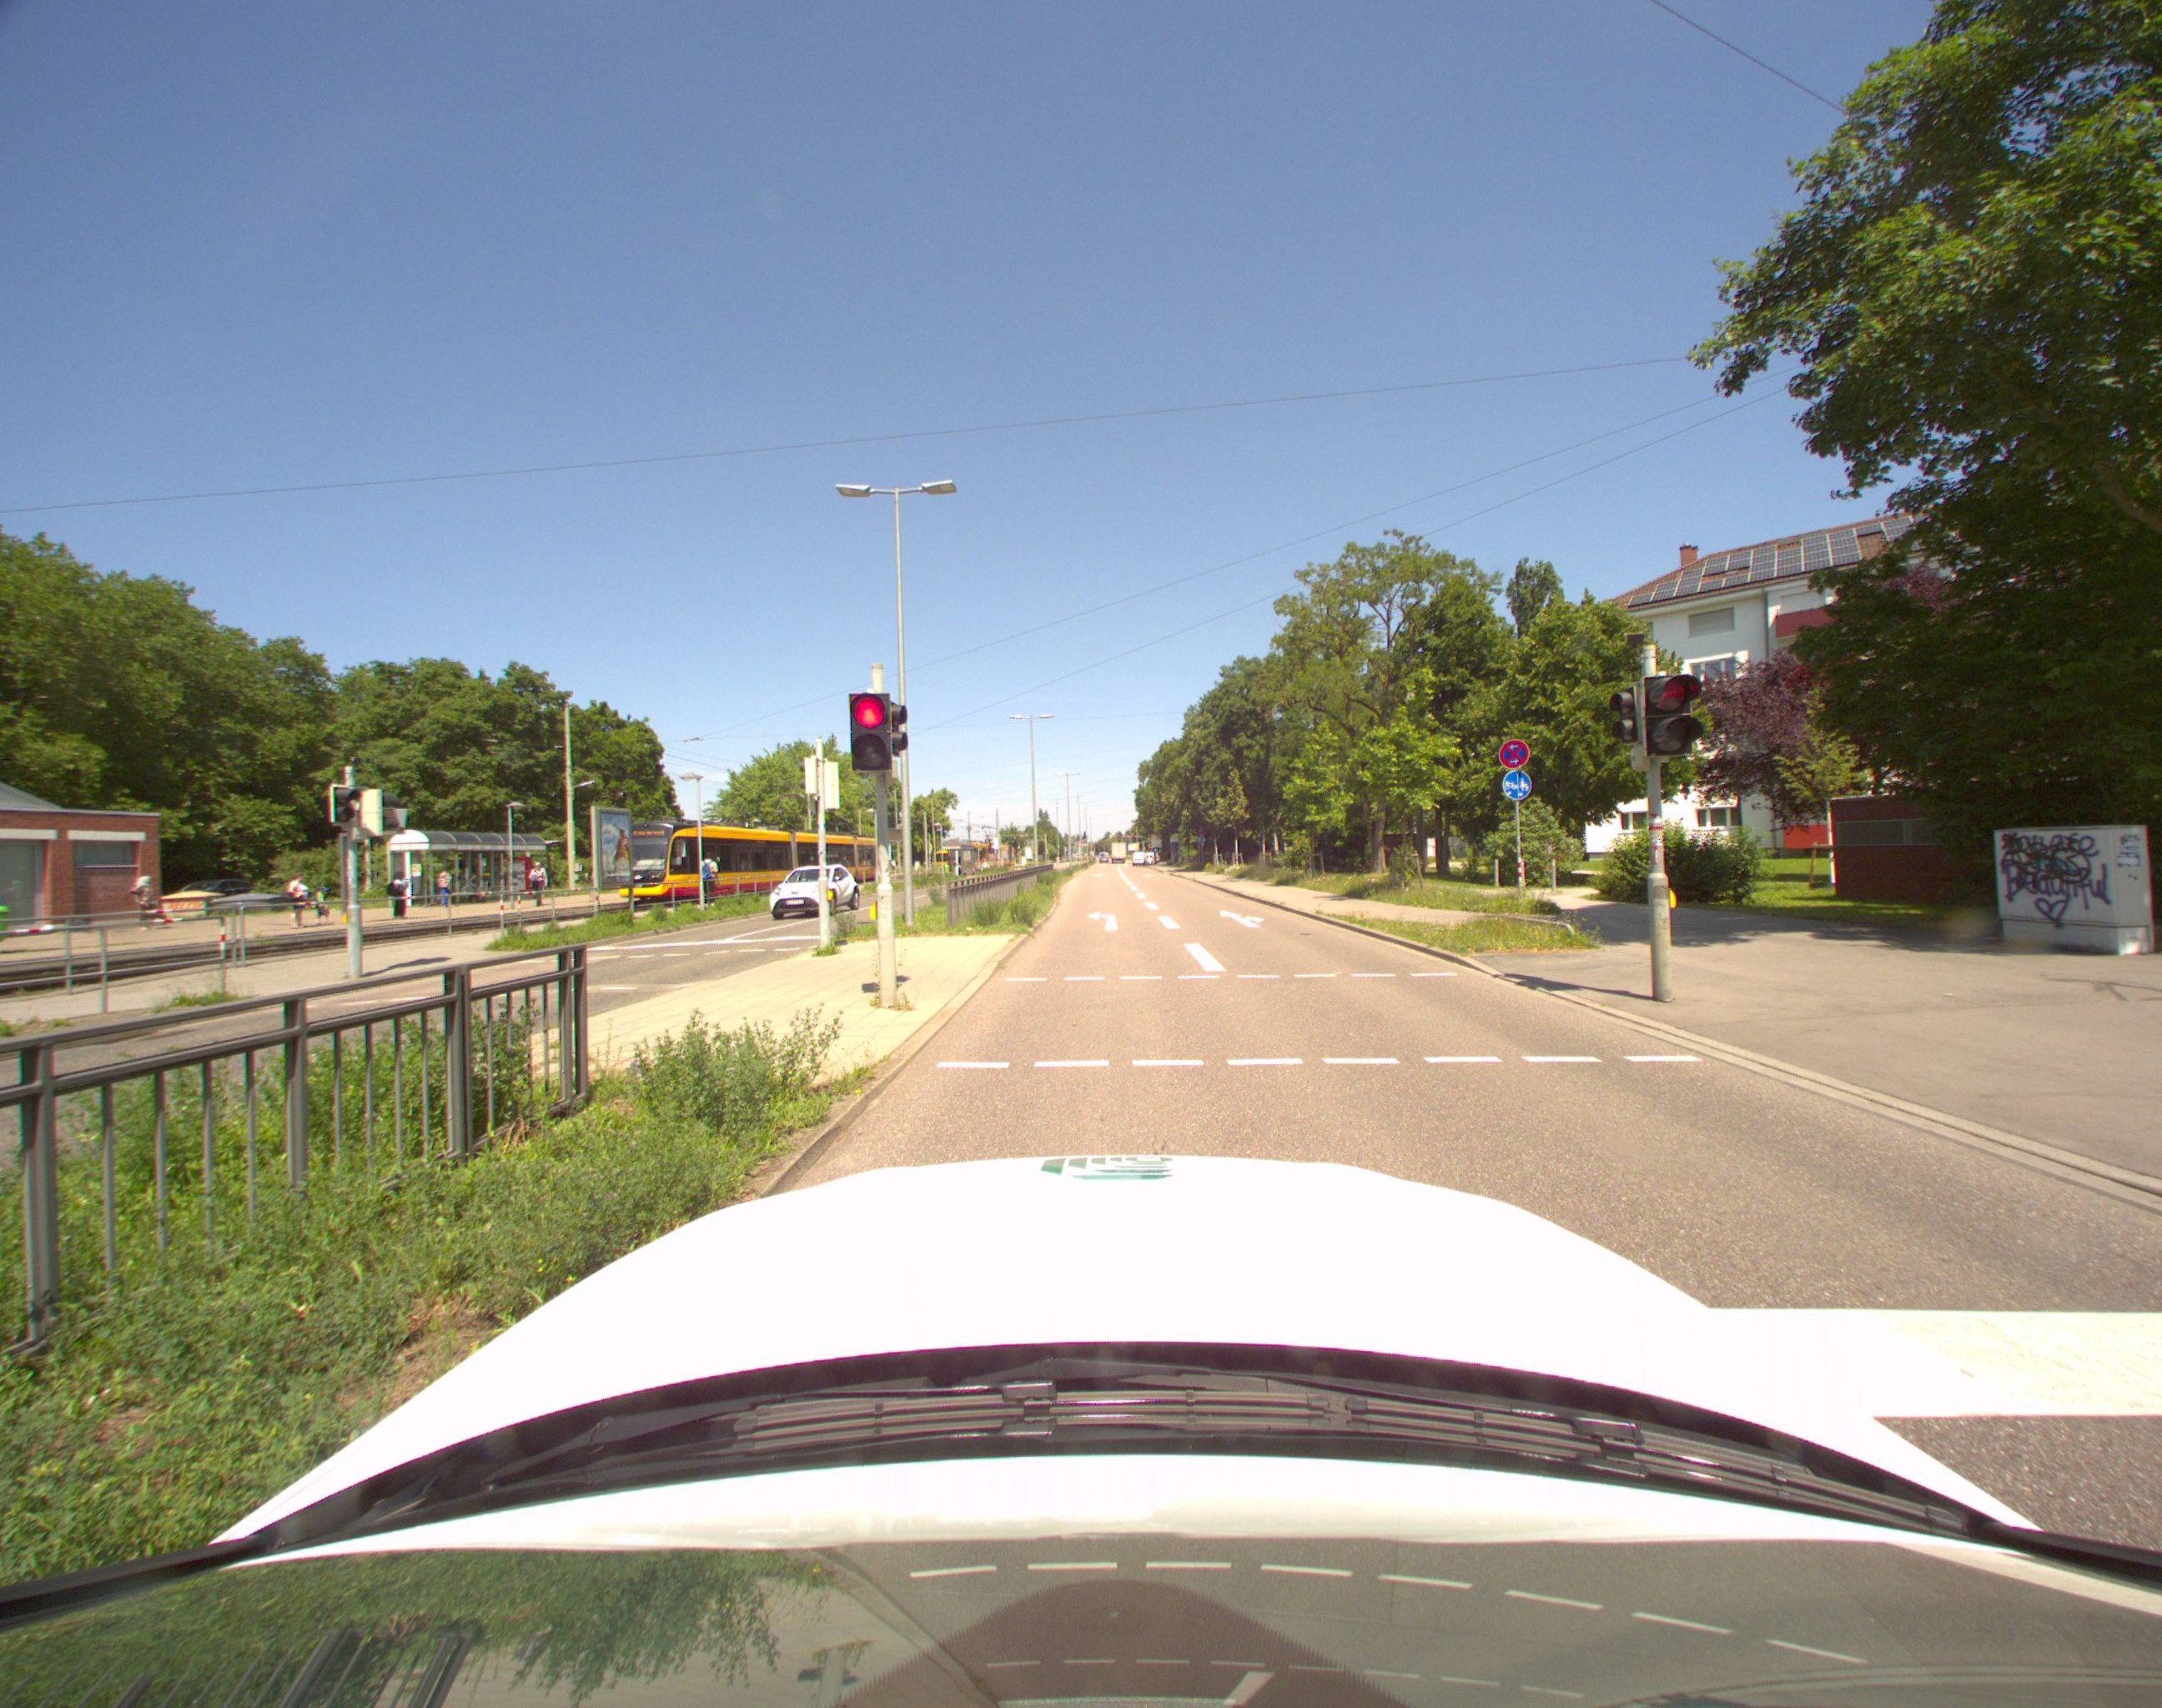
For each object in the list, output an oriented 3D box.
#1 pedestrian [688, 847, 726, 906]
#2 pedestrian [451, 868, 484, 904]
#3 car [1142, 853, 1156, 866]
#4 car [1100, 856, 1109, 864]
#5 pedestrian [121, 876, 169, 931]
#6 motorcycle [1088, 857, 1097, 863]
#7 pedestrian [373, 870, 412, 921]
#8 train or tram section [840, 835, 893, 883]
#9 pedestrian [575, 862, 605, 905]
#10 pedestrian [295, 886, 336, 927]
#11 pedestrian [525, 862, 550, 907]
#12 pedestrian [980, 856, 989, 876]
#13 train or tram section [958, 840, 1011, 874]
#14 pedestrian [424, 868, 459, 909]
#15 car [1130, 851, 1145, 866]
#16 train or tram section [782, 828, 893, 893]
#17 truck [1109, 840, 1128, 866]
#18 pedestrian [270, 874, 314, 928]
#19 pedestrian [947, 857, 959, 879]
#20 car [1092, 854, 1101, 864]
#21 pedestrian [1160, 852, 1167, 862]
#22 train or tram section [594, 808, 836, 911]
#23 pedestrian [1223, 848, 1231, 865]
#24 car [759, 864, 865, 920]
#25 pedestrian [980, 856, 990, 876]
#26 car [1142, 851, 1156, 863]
[{"bbox_3d":[-11.838,0.688,25.785,0.715,1.777,0.843,3,2,1],"label":"pedestrian"},{"bbox_3d":[-26.282,1.376,34.899,0.836,1.511,0.723,-2,0,12],"label":"pedestrian"},{"bbox_3d":[9.386,0.724,112.382,1.773,1.668,4.002,-2,0,2],"label":"car"},{"bbox_3d":[4.559,1.178,158.008,1.804,1.464,4.002,-2,0,2],"label":"car"},{"bbox_3d":[-25.880,1.368,22.536,0.636,1.480,0.570,-2,0,1],"label":"pedestrian"},{"bbox_3d":[2.878,1.396,200.523,2.183,1.406,0.845,-2,0,-10],"label":"motorcycle"},{"bbox_3d":[-21.641,1.289,25.608,0.635,1.555,0.691,-2,0,-11],"label":"pedestrian"},{"bbox_3d":[-20.503,0.519,76.765,3.226,3.931,18.376,-2,0,-20],"label":"train or tram section"},{"bbox_3d":[-21.214,1.254,35.187,0.715,1.777,0.843,3,2,1],"label":"pedestrian"},{"bbox_3d":[-22.284,1.517,23.723,0.636,1.124,0.570,-2,0,1],"label":"pedestrian"},{"bbox_3d":[-22.149,1.245,33.188,0.725,1.800,0.835,-1,-1,-41],"label":"pedestrian"},{"bbox_3d":[-10.129,1.257,85.369,0.812,2.013,0.939,-2,0,1],"label":"pedestrian"},{"bbox_3d":[-12.222,0.377,107.164,2.947,3.749,30.034,-2,0,1],"label":"train or tram section"},{"bbox_3d":[-25.270,1.360,32.188,0.669,1.590,0.808,-2,0,1],"label":"pedestrian"},{"bbox_3d":[7.298,0.567,105.542,1.773,1.903,4.002,-2,0,2],"label":"car"},{"bbox_3d":[-17.165,0.397,59.499,3.208,3.931,18.481,-2,0,-3],"label":"train or tram section"},{"bbox_3d":[6.773,-0.163,146.140,3.193,4.359,6.563,-2,0,2],"label":"truck"},{"bbox_3d":[-22.047,1.297,22.765,0.636,1.456,0.583,-2,0,1],"label":"pedestrian"},{"bbox_3d":[-10.978,1.205,69.732,0.783,1.868,0.818,-2,0,1],"label":"pedestrian"},{"bbox_3d":[3.327,1.104,175.335,1.986,2.013,4.002,-2,0,2],"label":"car"},{"bbox_3d":[16.494,0.598,162.989,1.180,2.013,1.214,-2,0,1],"label":"pedestrian"},{"bbox_3d":[-17.165,0.225,41.247,3.203,3.931,18.510,-2,0,2],"label":"train or tram section"},{"bbox_3d":[12.702,0.235,70.864,0.600,1.438,0.557,-2,0,8],"label":"pedestrian"},{"bbox_3d":[-8.111,1.093,24.955,1.838,1.494,3.793,-2,0,2],"label":"car"},{"bbox_3d":[-9.909,1.244,84.069,0.812,2.013,0.939,-2,0,1],"label":"pedestrian"},{"bbox_3d":[9.909,0.466,118.765,1.773,1.668,4.002,-2,0,2],"label":"car"}]
